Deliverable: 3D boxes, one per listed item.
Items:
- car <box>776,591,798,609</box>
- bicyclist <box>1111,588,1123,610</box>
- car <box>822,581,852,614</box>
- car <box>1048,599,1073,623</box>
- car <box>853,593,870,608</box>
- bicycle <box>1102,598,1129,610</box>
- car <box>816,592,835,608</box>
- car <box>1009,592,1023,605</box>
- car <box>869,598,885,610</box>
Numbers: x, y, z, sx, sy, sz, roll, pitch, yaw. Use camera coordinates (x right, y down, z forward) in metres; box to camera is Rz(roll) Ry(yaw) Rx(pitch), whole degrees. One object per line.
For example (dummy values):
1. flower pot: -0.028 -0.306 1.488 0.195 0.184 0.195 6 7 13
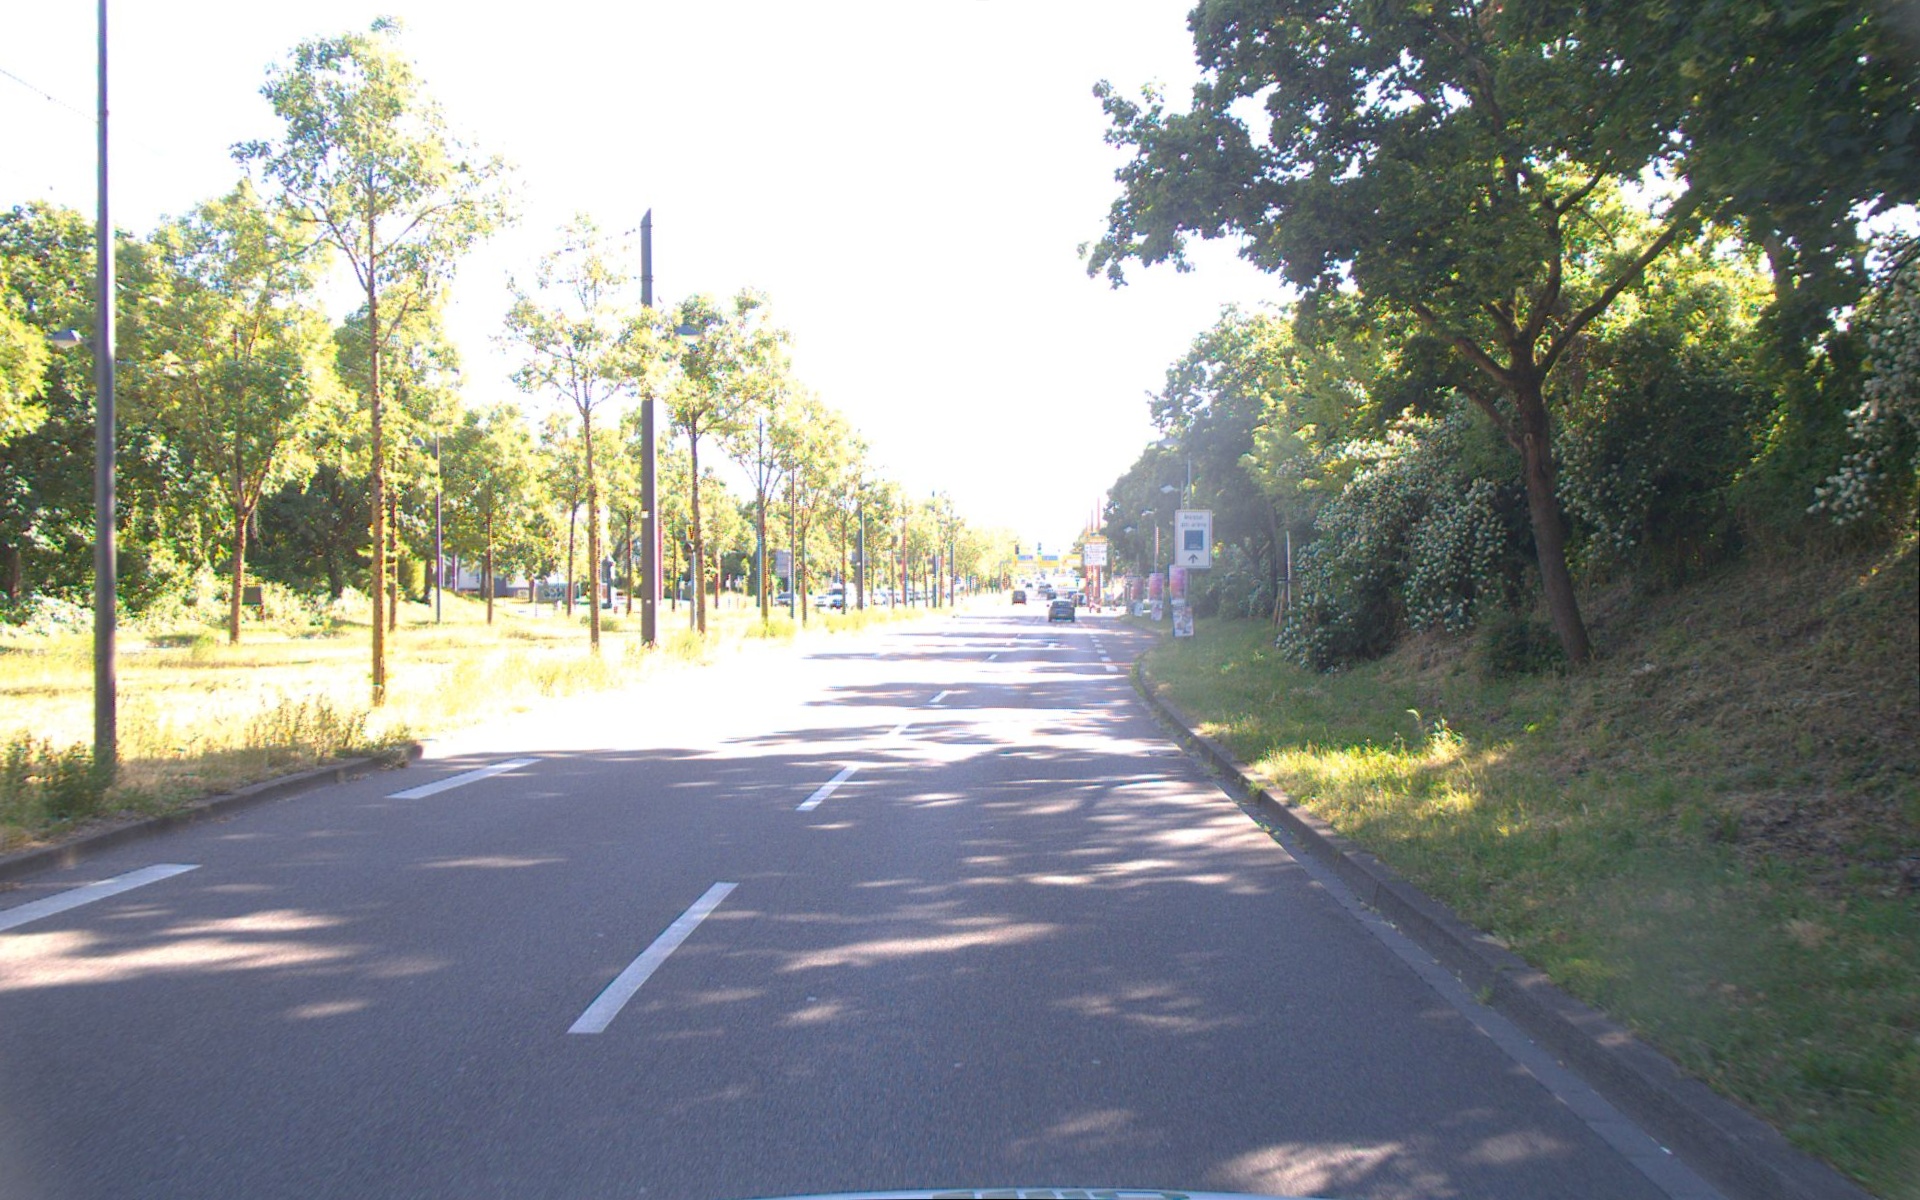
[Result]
1. car: -16.582 0.012 158.689 1.597 1.710 4.193 0 0 2
2. bicyclist: 14.343 -0.105 151.035 0.987 2.042 0.813 0 0 3
3. car: -12.620 -0.190 169.534 2.414 3.296 6.135 1 0 1
4. car: 6.609 0.704 108.638 1.600 1.524 4.237 0 0 4
5. car: -11.367 0.060 191.256 1.597 1.710 4.193 0 0 2
6. bicycle: 14.203 0.347 151.042 2.364 1.129 0.813 0 0 3
7. car: -14.825 -0.044 182.753 1.597 1.710 4.193 0 0 2
8. car: 6.830 -0.157 202.109 1.600 1.524 4.237 0 0 4
9. car: -9.983 0.462 199.936 1.597 1.471 4.193 0 0 2
